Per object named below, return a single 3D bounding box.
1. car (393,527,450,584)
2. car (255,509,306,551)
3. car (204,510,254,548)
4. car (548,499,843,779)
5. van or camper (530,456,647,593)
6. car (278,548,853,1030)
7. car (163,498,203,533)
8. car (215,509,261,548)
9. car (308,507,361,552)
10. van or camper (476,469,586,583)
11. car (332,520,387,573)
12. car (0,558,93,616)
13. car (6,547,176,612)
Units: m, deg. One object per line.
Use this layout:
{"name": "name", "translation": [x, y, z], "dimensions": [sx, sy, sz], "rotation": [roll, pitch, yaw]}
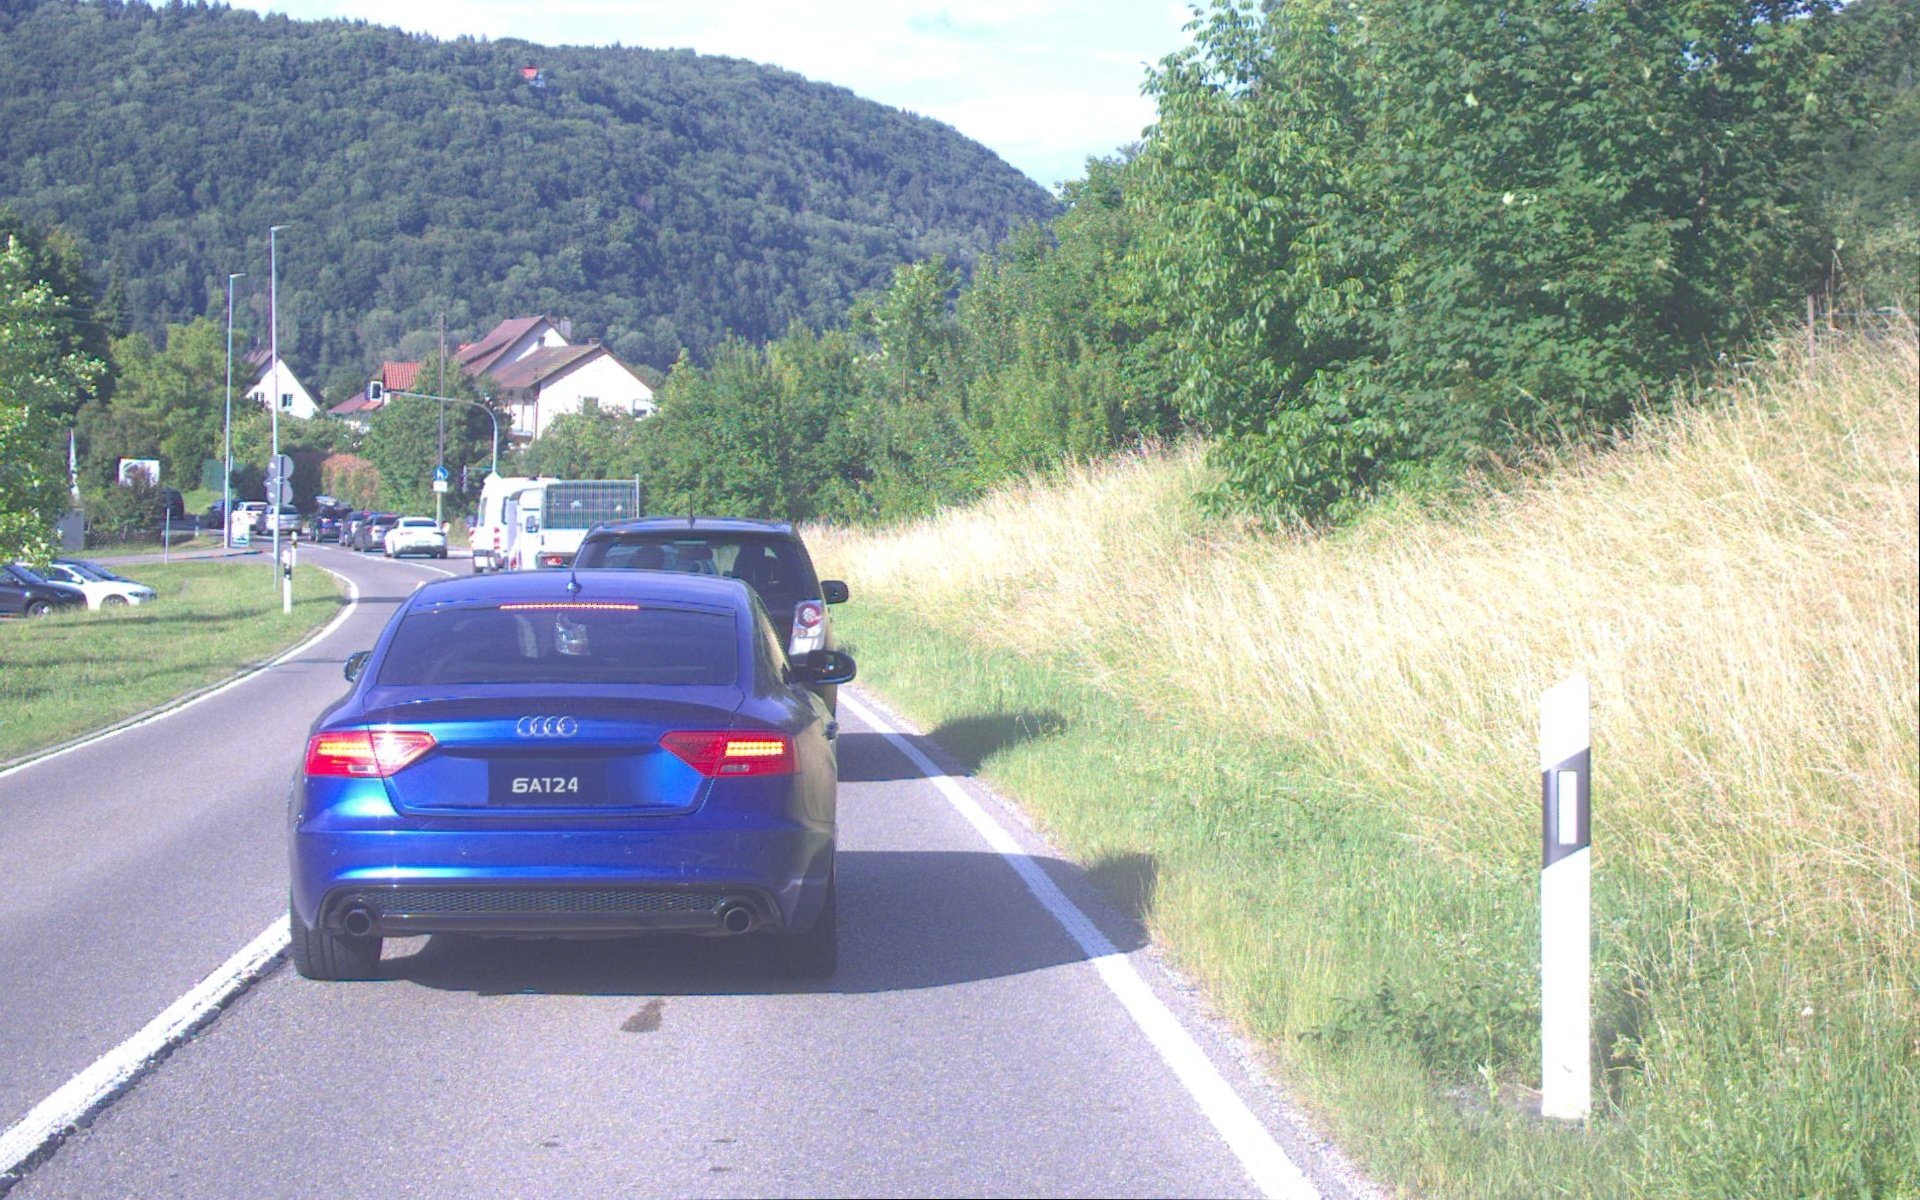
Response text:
{"name": "car", "translation": [-18.626, -1.537, 118.879], "dimensions": [1.659, 1.918, 4.001], "rotation": [-1, 1, -13]}
{"name": "car", "translation": [-32.225, -3.304, 162.974], "dimensions": [1.676, 1.918, 4.001], "rotation": [-1, 1, -21]}
{"name": "car", "translation": [-38.109, -3.696, 179.194], "dimensions": [1.954, 1.918, 4.001], "rotation": [-1, 1, -20]}
{"name": "car", "translation": [-1.761, 0.197, 21.986], "dimensions": [1.645, 1.619, 3.518], "rotation": [1, 1, -8]}
{"name": "van or camper", "translation": [-7.205, -1.446, 66.282], "dimensions": [2.051, 2.497, 5.813], "rotation": [-1, 1, -8]}
{"name": "car", "translation": [-1.358, 0.551, 12.341], "dimensions": [1.742, 1.445, 3.517], "rotation": [-1, 1, -5]}
{"name": "car", "translation": [-44.041, -4.764, 194.775], "dimensions": [1.676, 1.918, 4.001], "rotation": [-1, 1, -20]}
{"name": "car", "translation": [-36.013, -3.548, 171.475], "dimensions": [1.676, 1.918, 4.001], "rotation": [-1, 1, -20]}
{"name": "car", "translation": [-27.152, -3.050, 149.153], "dimensions": [1.676, 1.918, 4.001], "rotation": [-1, 1, -19]}
{"name": "van or camper", "translation": [-10.677, -1.830, 85.204], "dimensions": [2.280, 2.704, 5.769], "rotation": [-1, 1, -11]}
{"name": "car", "translation": [-22.643, -2.015, 129.550], "dimensions": [1.659, 1.918, 4.001], "rotation": [-1, 1, -15]}
{"name": "car", "translation": [-24.030, -0.330, 87.048], "dimensions": [3.713, 1.434, 1.509], "rotation": [-1, 1, 5]}
{"name": "car", "translation": [-23.036, -0.541, 91.221], "dimensions": [4.036, 1.655, 1.655], "rotation": [-1, 1, 5]}
